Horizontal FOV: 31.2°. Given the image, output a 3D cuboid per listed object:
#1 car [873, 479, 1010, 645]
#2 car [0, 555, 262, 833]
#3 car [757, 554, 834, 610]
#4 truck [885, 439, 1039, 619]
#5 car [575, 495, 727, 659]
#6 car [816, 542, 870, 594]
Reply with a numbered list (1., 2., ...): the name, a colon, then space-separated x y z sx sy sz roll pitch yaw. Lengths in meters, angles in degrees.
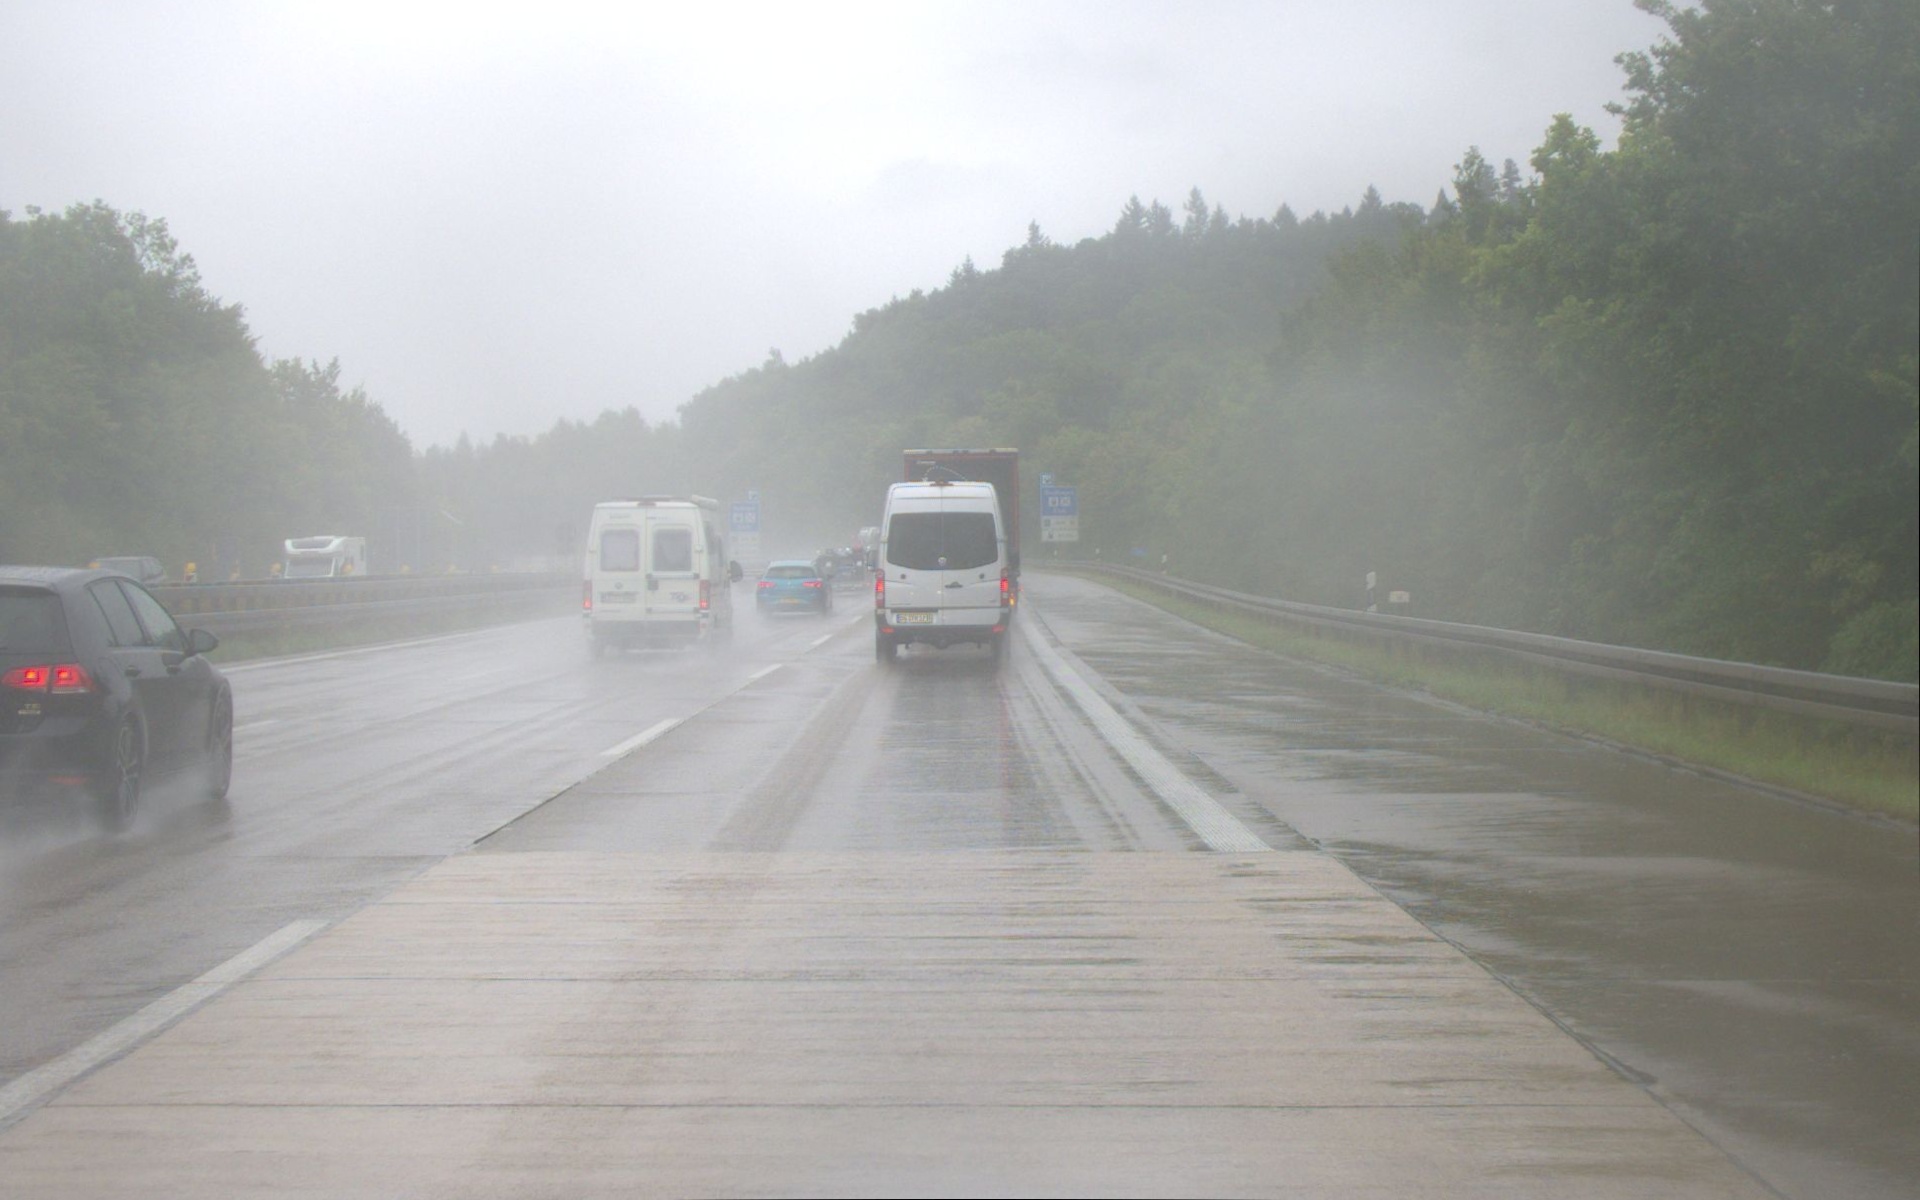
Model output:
1. car: -0.325 -0.576 51.448 1.899 2.326 5.251 1 1 -1
2. car: -5.201 0.468 19.408 1.740 1.383 4.322 -1 0 -2
3. car: -4.156 -0.467 86.573 1.856 1.334 4.352 1 1 -3
4. truck: -0.005 -1.789 81.238 3.385 3.954 8.668 -1 3 -1
5. car: -4.851 -0.382 54.723 1.997 2.423 5.791 1 1 -1
6. car: -4.192 -1.148 123.635 1.868 1.804 4.189 1 1 -1
